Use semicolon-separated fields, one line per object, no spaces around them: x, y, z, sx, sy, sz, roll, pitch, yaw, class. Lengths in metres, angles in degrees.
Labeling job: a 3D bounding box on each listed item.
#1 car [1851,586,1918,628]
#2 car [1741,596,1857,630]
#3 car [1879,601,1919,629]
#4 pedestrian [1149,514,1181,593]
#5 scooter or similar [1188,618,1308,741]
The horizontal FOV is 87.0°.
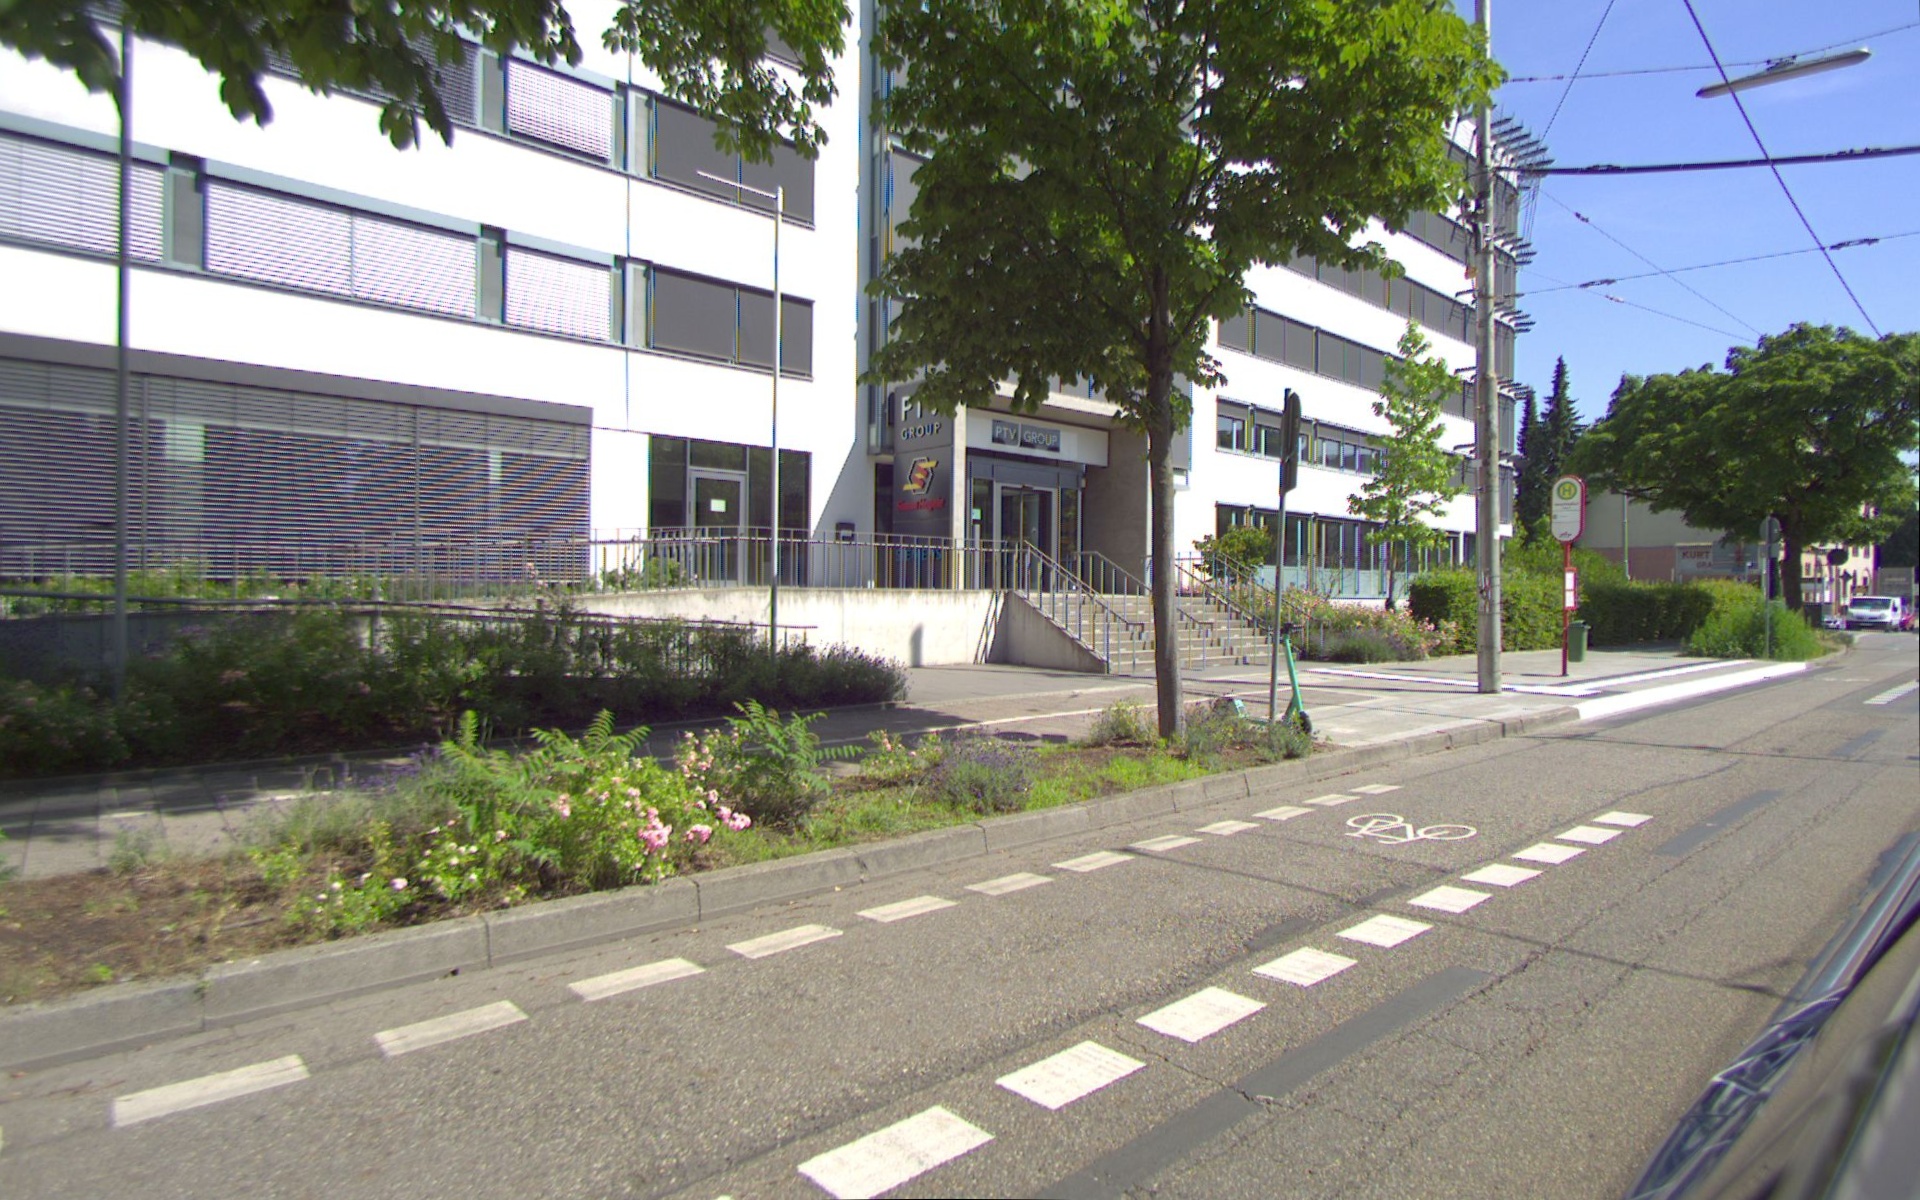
50.095;0.345;54.818;5.099;2.080;1.981;0;2;-40;car
37.259;0.562;45.019;1.641;1.405;3.753;1;0;-39;car
55.077;0.849;58.955;4.236;1.461;1.726;0;2;-40;car
4.620;-1.042;22.840;0.537;1.750;0.499;0;0;-41;pedestrian
2.948;0.778;10.428;0.483;1.169;1.146;0;0;-34;scooter or similar
